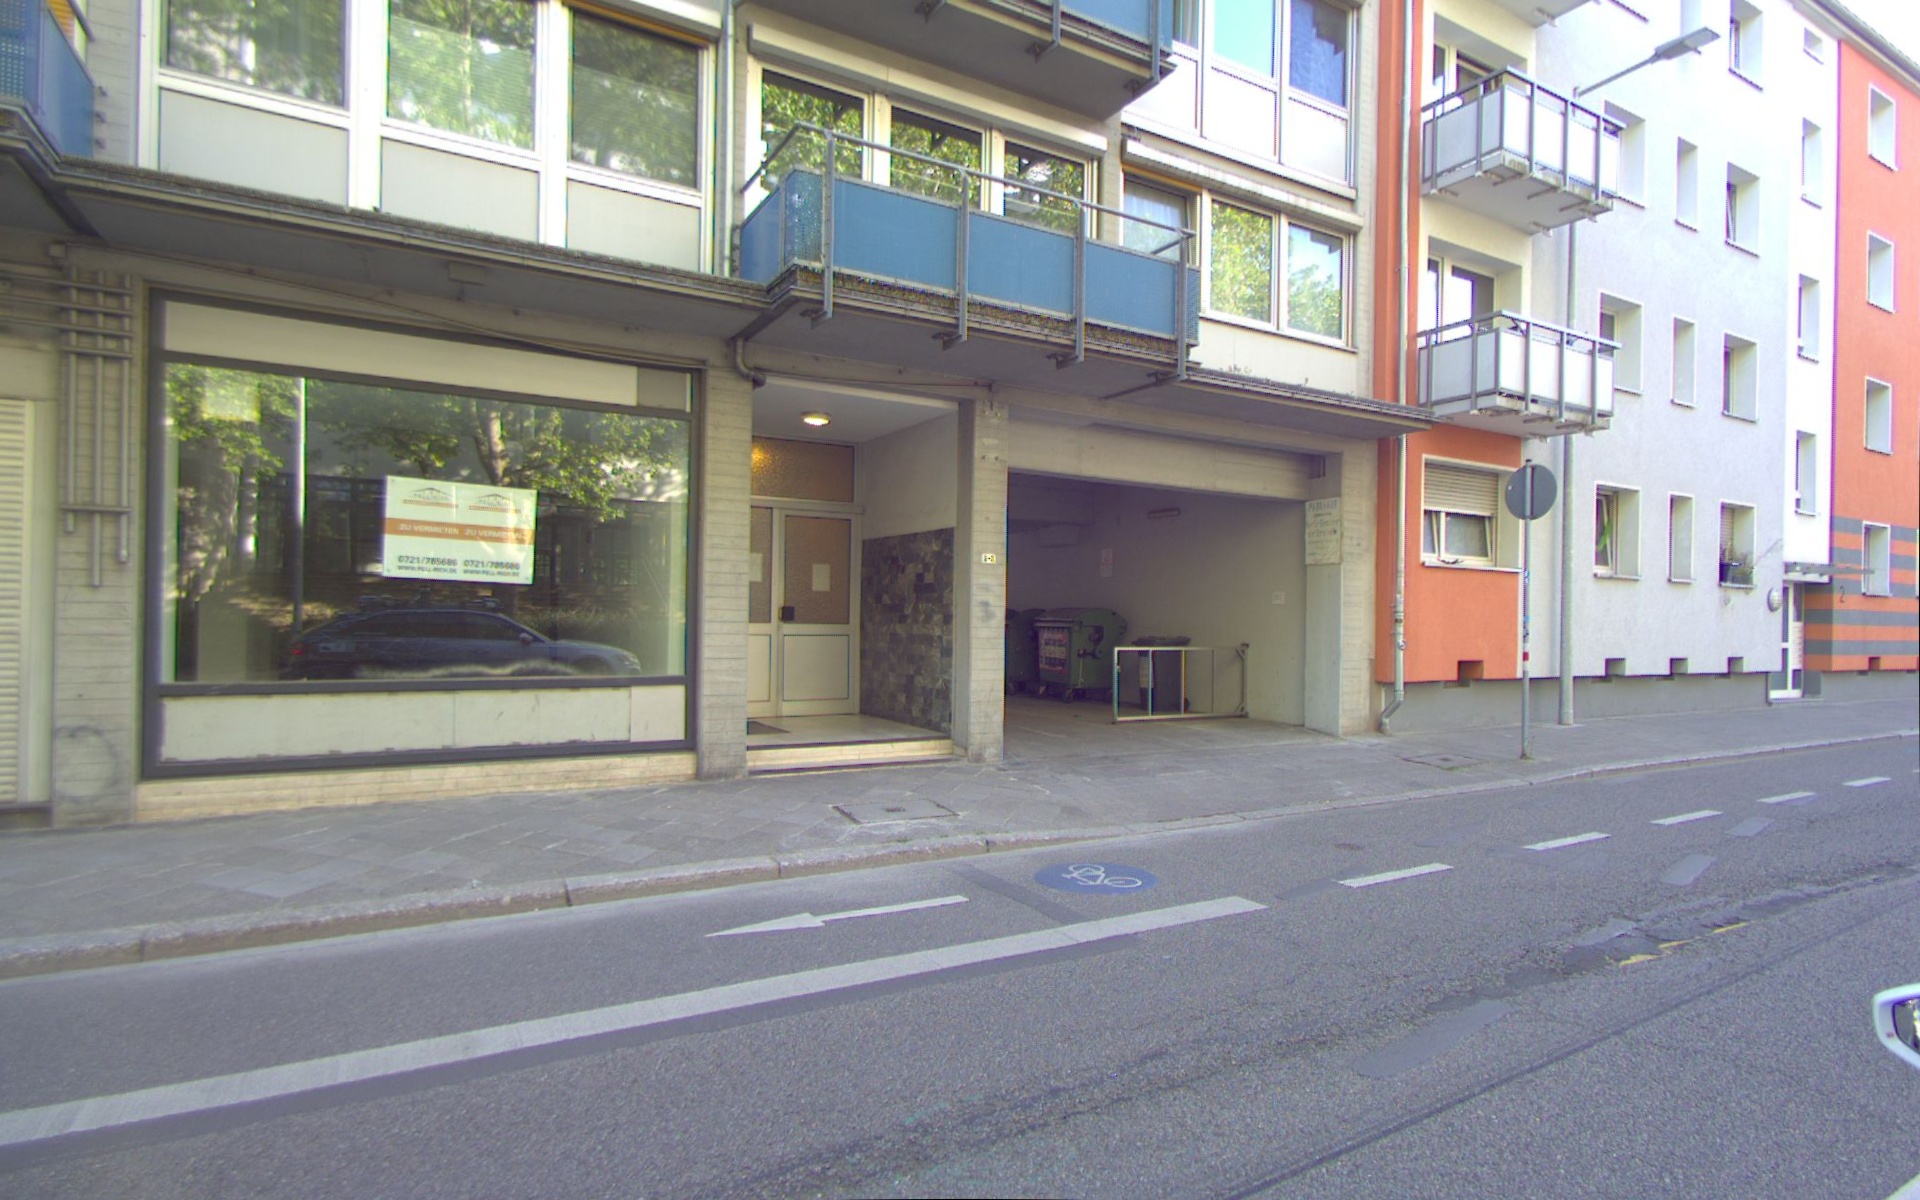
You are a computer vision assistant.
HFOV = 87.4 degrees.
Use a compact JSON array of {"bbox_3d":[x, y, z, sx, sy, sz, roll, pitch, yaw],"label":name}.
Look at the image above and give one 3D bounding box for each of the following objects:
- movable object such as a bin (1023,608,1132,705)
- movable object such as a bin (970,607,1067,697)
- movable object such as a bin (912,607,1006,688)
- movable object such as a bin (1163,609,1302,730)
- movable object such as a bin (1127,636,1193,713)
[{"bbox_3d":[1.839,0.857,15.853,1.128,1.449,1.342,1,0,-28],"label":"movable object such as a bin"},{"bbox_3d":[0.988,0.863,17.177,1.119,1.449,1.322,1,0,-28],"label":"movable object such as a bin"},{"bbox_3d":[-0.040,0.860,18.879,1.119,1.449,1.666,1,0,-28],"label":"movable object such as a bin"},{"bbox_3d":[3.480,0.846,12.905,1.119,1.449,1.322,1,0,-28],"label":"movable object such as a bin"},{"bbox_3d":[2.889,1.071,14.535,0.695,1.055,0.593,2,0,-30],"label":"movable object such as a bin"}]
